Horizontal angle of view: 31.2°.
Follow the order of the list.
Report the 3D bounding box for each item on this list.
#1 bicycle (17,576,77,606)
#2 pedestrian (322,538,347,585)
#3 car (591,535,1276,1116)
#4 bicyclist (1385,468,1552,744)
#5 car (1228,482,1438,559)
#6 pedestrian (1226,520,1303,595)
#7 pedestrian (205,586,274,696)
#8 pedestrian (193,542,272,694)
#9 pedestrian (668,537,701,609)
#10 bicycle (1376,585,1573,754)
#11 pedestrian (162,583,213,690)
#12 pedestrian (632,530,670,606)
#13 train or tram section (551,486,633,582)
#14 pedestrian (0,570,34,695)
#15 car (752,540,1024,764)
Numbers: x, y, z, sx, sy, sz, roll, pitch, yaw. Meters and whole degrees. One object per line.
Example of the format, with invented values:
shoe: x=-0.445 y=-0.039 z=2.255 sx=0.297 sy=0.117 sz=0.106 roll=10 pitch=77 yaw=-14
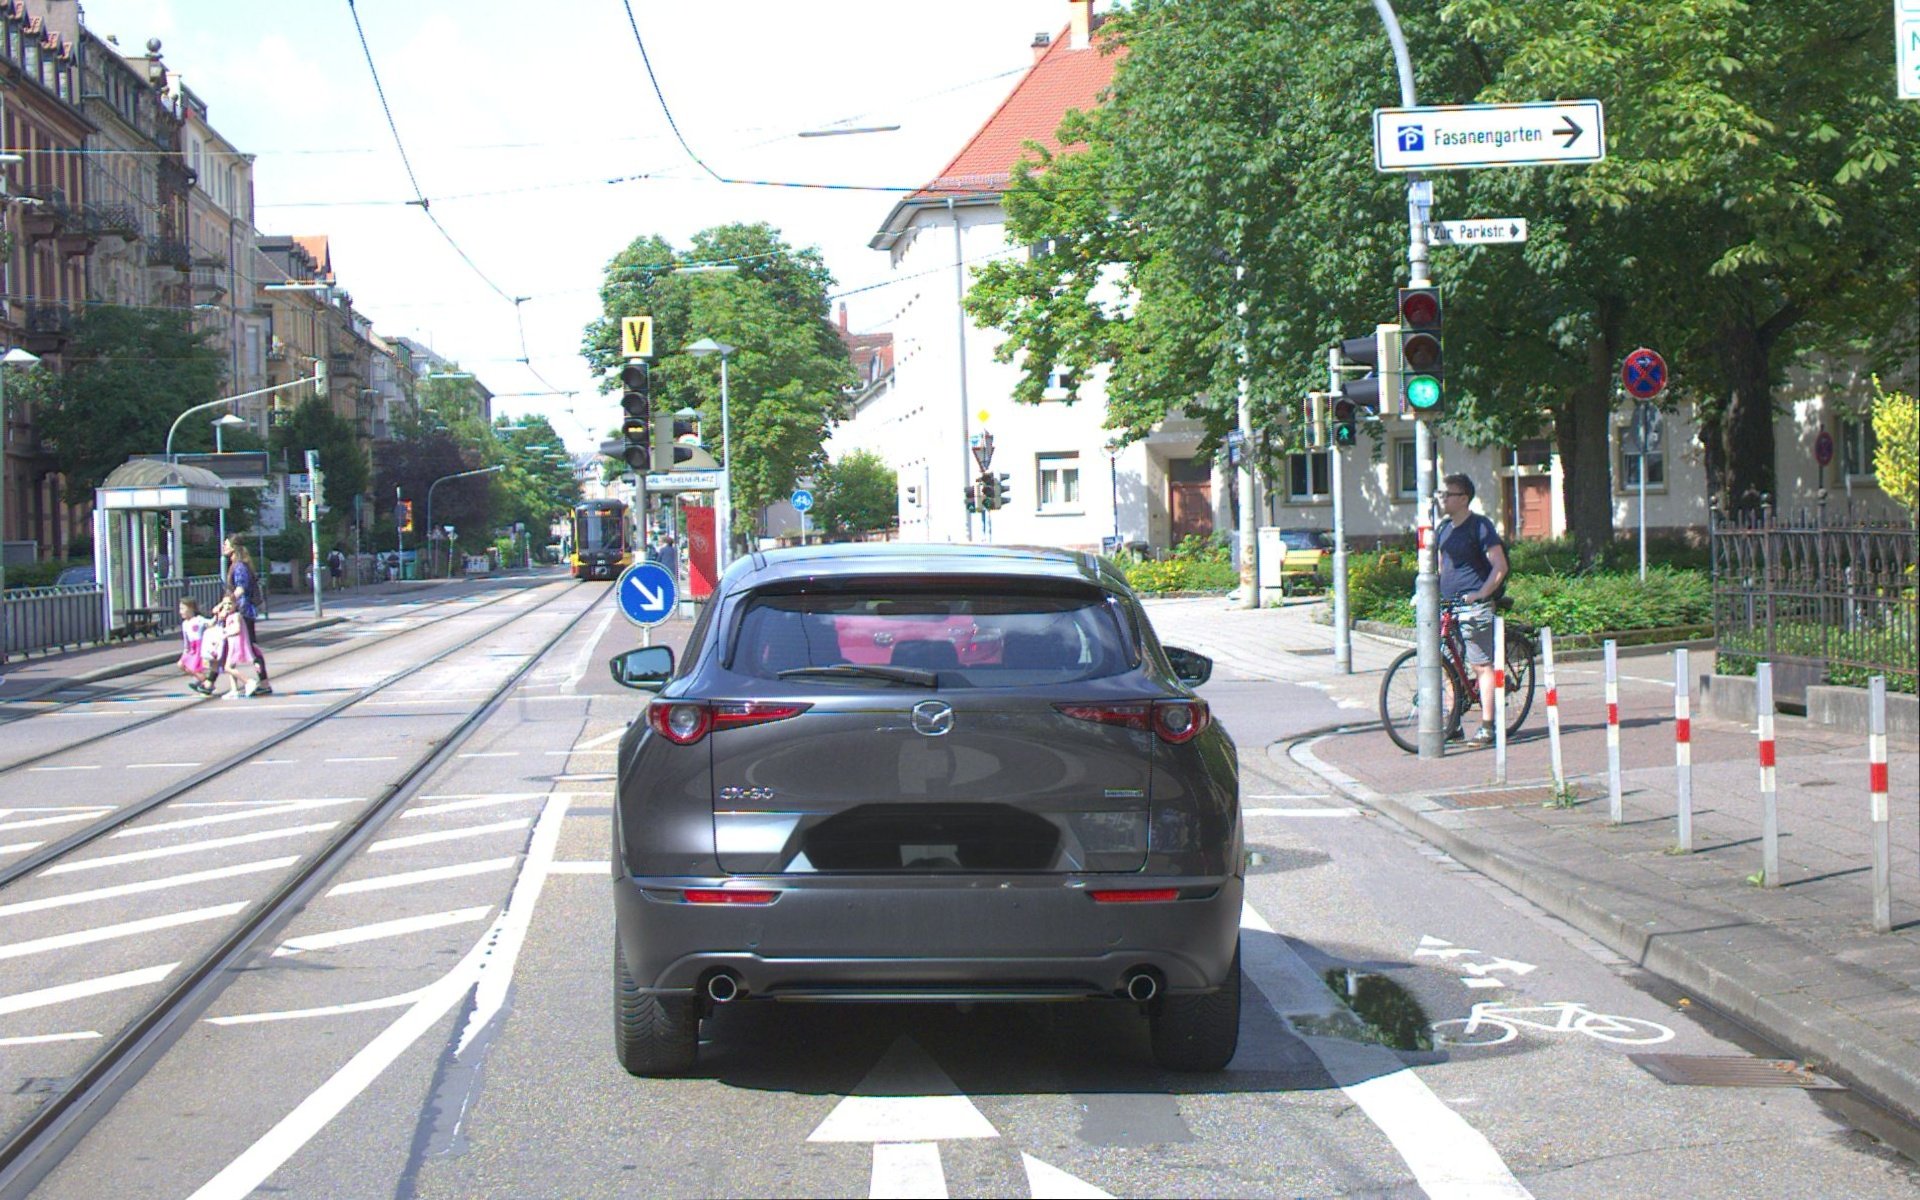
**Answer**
bicycle: x=-24.035 y=-0.242 z=90.528 sx=0.386 sy=0.745 sz=1.708 roll=-1 pitch=1 yaw=31
pedestrian: x=-22.900 y=-1.414 z=125.846 sx=0.788 sy=1.682 sz=0.732 roll=-2 pitch=1 yaw=-3
car: x=-0.092 y=0.570 z=11.026 sx=1.782 sy=1.509 sz=4.000 roll=1 pitch=1 yaw=-1
bicyclist: x=3.435 y=0.032 z=23.240 sx=0.733 sy=1.813 sz=0.820 roll=-2 pitch=1 yaw=-27
car: x=8.149 y=-1.735 z=75.251 sx=4.167 sy=1.504 sz=1.848 roll=-1 pitch=3 yaw=38
pedestrian: x=5.489 y=-0.770 z=61.974 sx=1.192 sy=1.264 sz=0.558 roll=-4 pitch=1 yaw=-9
pedestrian: x=-7.453 y=0.420 z=35.562 sx=0.641 sy=1.110 sz=0.444 roll=-2 pitch=1 yaw=-9
pedestrian: x=-7.644 y=0.184 z=36.142 sx=0.728 sy=1.560 sz=0.799 roll=-2 pitch=1 yaw=-9
pedestrian: x=-6.006 y=-0.595 z=74.839 sx=0.667 sy=1.540 sz=0.581 roll=-2 pitch=1 yaw=-5
bicycle: x=3.512 y=0.454 z=23.343 sx=0.389 sy=1.032 sz=1.841 roll=-1 pitch=2 yaw=40
pedestrian: x=-8.252 y=0.386 z=36.736 sx=0.437 sy=1.104 sz=0.423 roll=-4 pitch=1 yaw=-9
pedestrian: x=-6.889 y=-0.712 z=76.645 sx=0.770 sy=1.669 sz=0.668 roll=-2 pitch=1 yaw=-5
train or tram section: x=-16.404 y=-2.864 z=153.970 sx=2.997 sy=3.970 sz=13.811 roll=-2 pitch=0 yaw=-4
pedestrian: x=-10.354 y=0.362 z=36.540 sx=0.825 sy=1.299 sz=0.717 roll=-4 pitch=1 yaw=-9
car: x=-0.512 y=0.309 z=24.374 sx=1.775 sy=1.459 sz=3.843 roll=0 pitch=1 yaw=-1
